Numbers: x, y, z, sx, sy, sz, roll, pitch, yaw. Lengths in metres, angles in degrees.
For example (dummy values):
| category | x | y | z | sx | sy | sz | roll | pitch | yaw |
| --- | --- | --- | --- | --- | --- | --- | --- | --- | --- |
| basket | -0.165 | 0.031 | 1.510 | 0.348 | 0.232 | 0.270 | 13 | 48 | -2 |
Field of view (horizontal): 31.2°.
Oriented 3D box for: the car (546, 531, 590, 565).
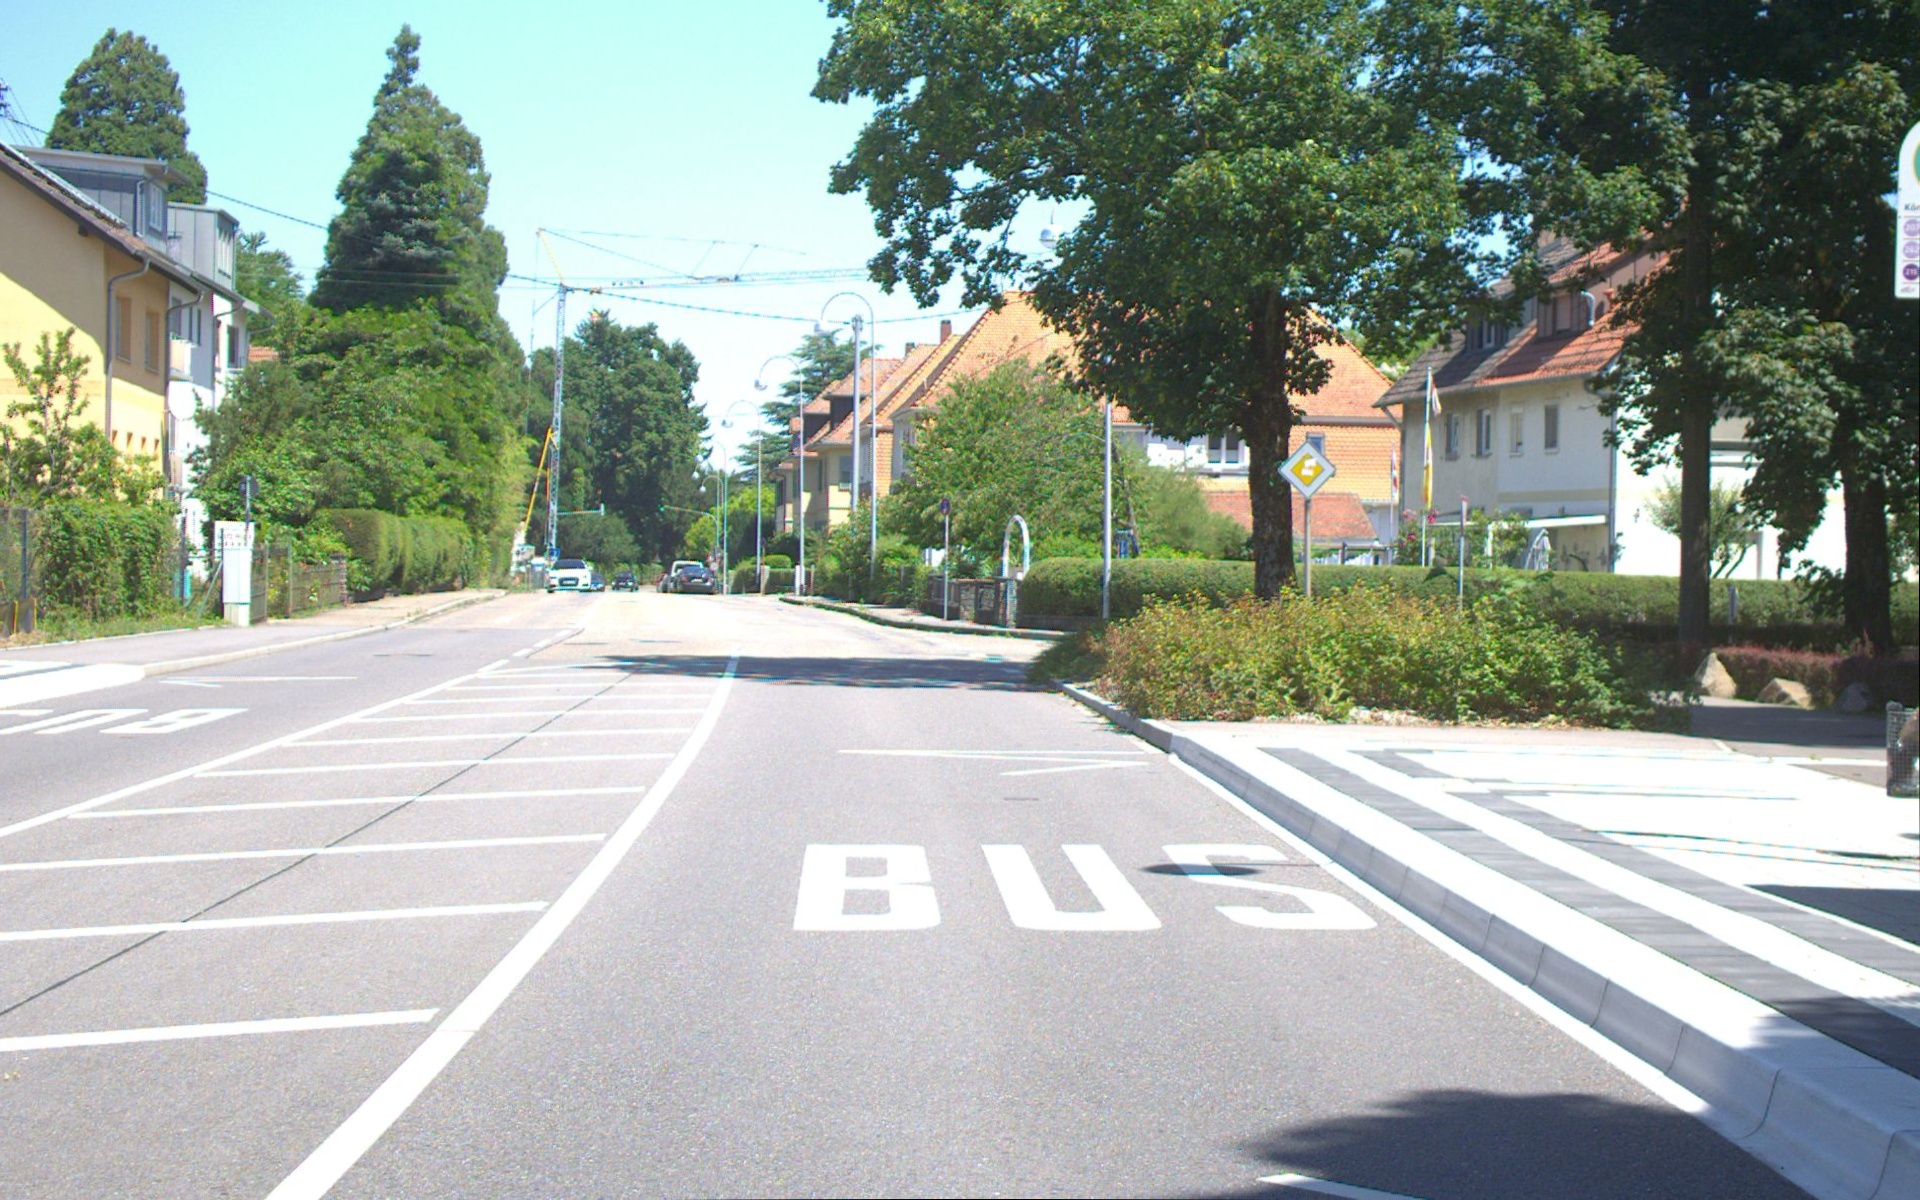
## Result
| category | x | y | z | sx | sy | sz | roll | pitch | yaw |
| --- | --- | --- | --- | --- | --- | --- | --- | --- | --- |
| car | -16.254 | -2.185 | 142.534 | 1.680 | 1.368 | 4.207 | 0 | 1 | -5 |

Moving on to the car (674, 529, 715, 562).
| category | x | y | z | sx | sy | sz | roll | pitch | yaw |
| --- | --- | --- | --- | --- | --- | --- | --- | --- | --- |
| car | -12.564 | -2.565 | 162.813 | 1.692 | 1.414 | 4.552 | 1 | 0 | -7 |
